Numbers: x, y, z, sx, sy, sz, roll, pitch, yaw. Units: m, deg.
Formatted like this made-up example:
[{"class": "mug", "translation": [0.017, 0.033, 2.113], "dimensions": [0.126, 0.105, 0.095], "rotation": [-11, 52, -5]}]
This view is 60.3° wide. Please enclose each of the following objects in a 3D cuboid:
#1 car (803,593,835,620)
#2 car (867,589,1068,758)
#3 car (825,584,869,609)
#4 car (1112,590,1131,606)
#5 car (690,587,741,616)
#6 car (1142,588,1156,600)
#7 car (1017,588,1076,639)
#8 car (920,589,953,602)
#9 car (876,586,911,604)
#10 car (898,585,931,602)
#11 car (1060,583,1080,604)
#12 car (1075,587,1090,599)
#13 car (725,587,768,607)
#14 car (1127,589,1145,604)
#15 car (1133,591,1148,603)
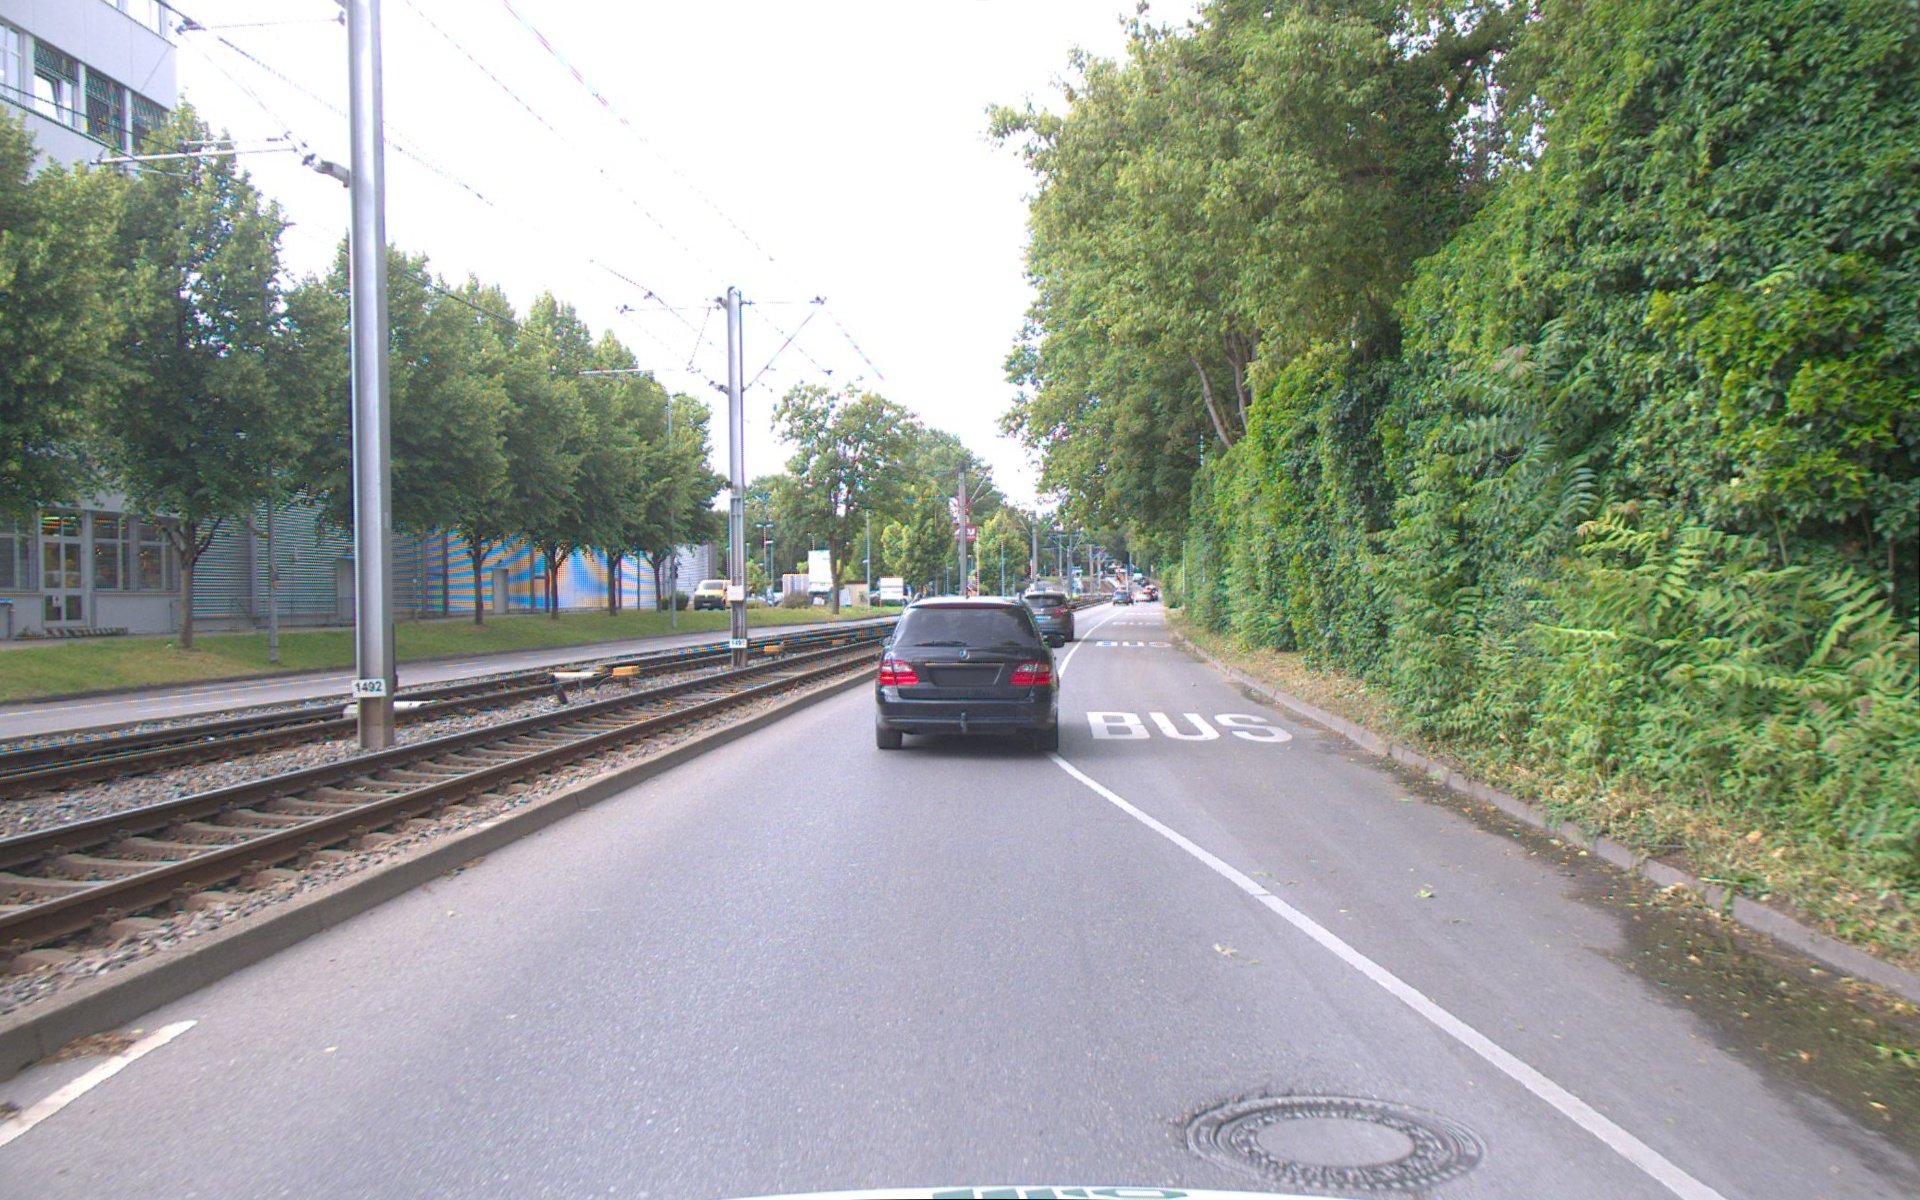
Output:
[{"class": "car", "translation": [-11.249, 0.515, 132.487], "dimensions": [1.952, 2.049, 4.001], "rotation": [-3, 0, 2]}, {"class": "car", "translation": [0.200, 0.655, 17.023], "dimensions": [1.795, 1.504, 4.418], "rotation": [0, 0, 3]}, {"class": "car", "translation": [-10.424, -0.340, 153.334], "dimensions": [3.907, 2.160, 1.999], "rotation": [-3, 0, -2]}, {"class": "car", "translation": [16.030, -0.247, 164.737], "dimensions": [1.787, 1.556, 4.418], "rotation": [0, 0, 4]}, {"class": "car", "translation": [-15.290, 0.105, 103.620], "dimensions": [1.951, 1.773, 4.991], "rotation": [-1, 0, 7]}, {"class": "car", "translation": [25.003, -0.741, 218.778], "dimensions": [1.787, 1.556, 4.181], "rotation": [0, 0, 4]}, {"class": "car", "translation": [2.707, 0.391, 52.460], "dimensions": [1.787, 1.556, 4.417], "rotation": [0, 0, 2]}, {"class": "car", "translation": [-2.961, -0.548, 208.198], "dimensions": [3.902, 1.673, 2.001], "rotation": [0, 0, 6]}, {"class": "car", "translation": [-7.031, -0.542, 173.859], "dimensions": [3.620, 1.847, 1.793], "rotation": [0, 0, -5]}, {"class": "car", "translation": [-5.074, -0.729, 185.087], "dimensions": [3.620, 1.847, 1.793], "rotation": [0, 0, -5]}, {"class": "car", "translation": [11.007, -0.663, 166.033], "dimensions": [1.852, 2.049, 3.899], "rotation": [-3, 0, 3]}, {"class": "car", "translation": [15.045, -0.861, 203.610], "dimensions": [1.787, 1.556, 4.181], "rotation": [0, 0, 4]}, {"class": "car", "translation": [-20.428, -0.249, 158.067], "dimensions": [3.917, 1.709, 1.994], "rotation": [-3, 0, -12]}, {"class": "car", "translation": [18.555, -0.398, 174.690], "dimensions": [1.787, 1.556, 4.181], "rotation": [0, 0, 4]}, {"class": "car", "translation": [22.622, -0.401, 207.678], "dimensions": [1.787, 1.556, 4.181], "rotation": [0, 0, 4]}]
